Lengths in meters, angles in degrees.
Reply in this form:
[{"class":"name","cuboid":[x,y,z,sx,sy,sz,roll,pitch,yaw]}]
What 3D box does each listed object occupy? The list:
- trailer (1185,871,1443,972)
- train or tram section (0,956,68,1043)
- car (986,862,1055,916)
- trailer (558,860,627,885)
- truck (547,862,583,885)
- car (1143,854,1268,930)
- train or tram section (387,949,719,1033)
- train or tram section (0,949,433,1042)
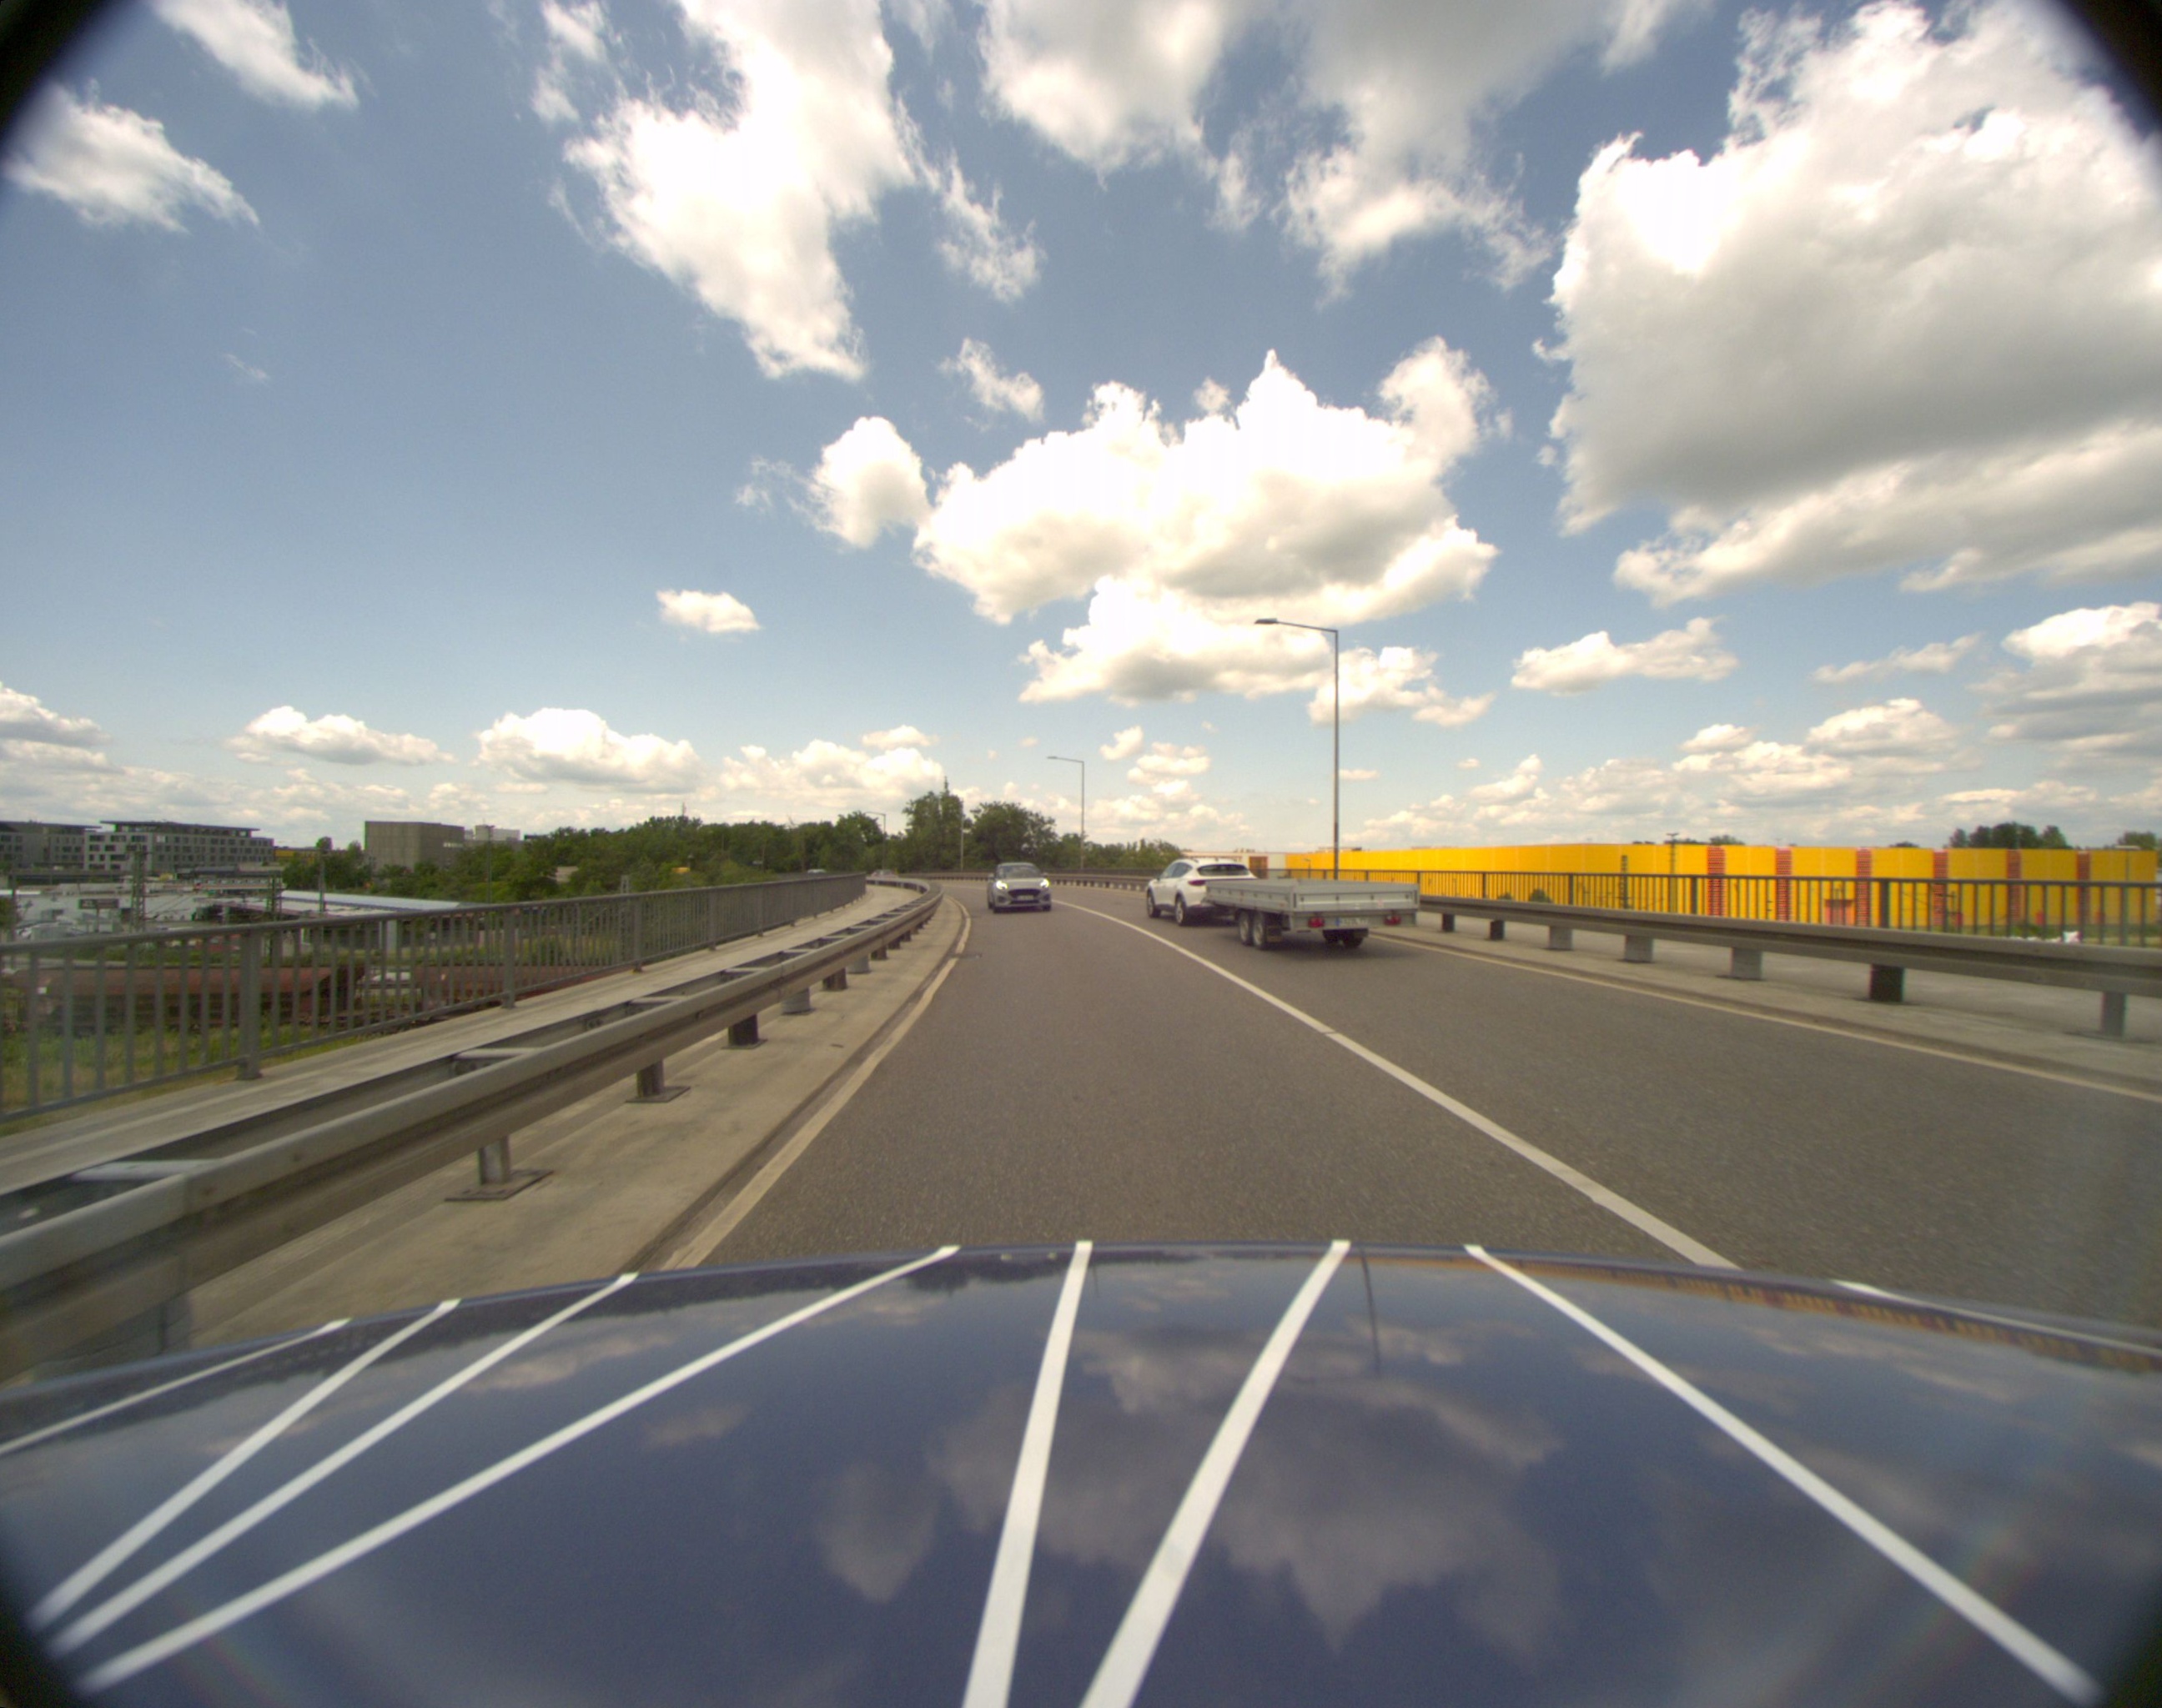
[{"class":"trailer","cuboid":[3.539,0.952,13.119,2.051,1.202,5.980,-2,0,-6]},{"class":"train or tram section","cuboid":[-65.870,7.935,40.204,16.966,4.130,3.214,0,3,-10]},{"class":"car","cuboid":[-2.068,1.068,24.885,1.829,1.516,3.997,-3,0,-10]},{"class":"trailer","cuboid":[-90.582,3.455,140.897,14.200,4.255,2.719,-2,0,21]},{"class":"truck","cuboid":[-97.477,3.759,143.565,5.640,4.110,2.774,-2,0,21]},{"class":"car","cuboid":[2.822,0.826,18.269,1.812,1.526,4.346,-2,0,-6]},{"class":"train or tram section","cuboid":[-30.108,7.826,43.907,16.598,4.130,3.139,0,3,-2]},{"class":"train or tram section","cuboid":[-47.939,7.798,42.648,18.895,4.130,3.217,0,3,-6]}]
